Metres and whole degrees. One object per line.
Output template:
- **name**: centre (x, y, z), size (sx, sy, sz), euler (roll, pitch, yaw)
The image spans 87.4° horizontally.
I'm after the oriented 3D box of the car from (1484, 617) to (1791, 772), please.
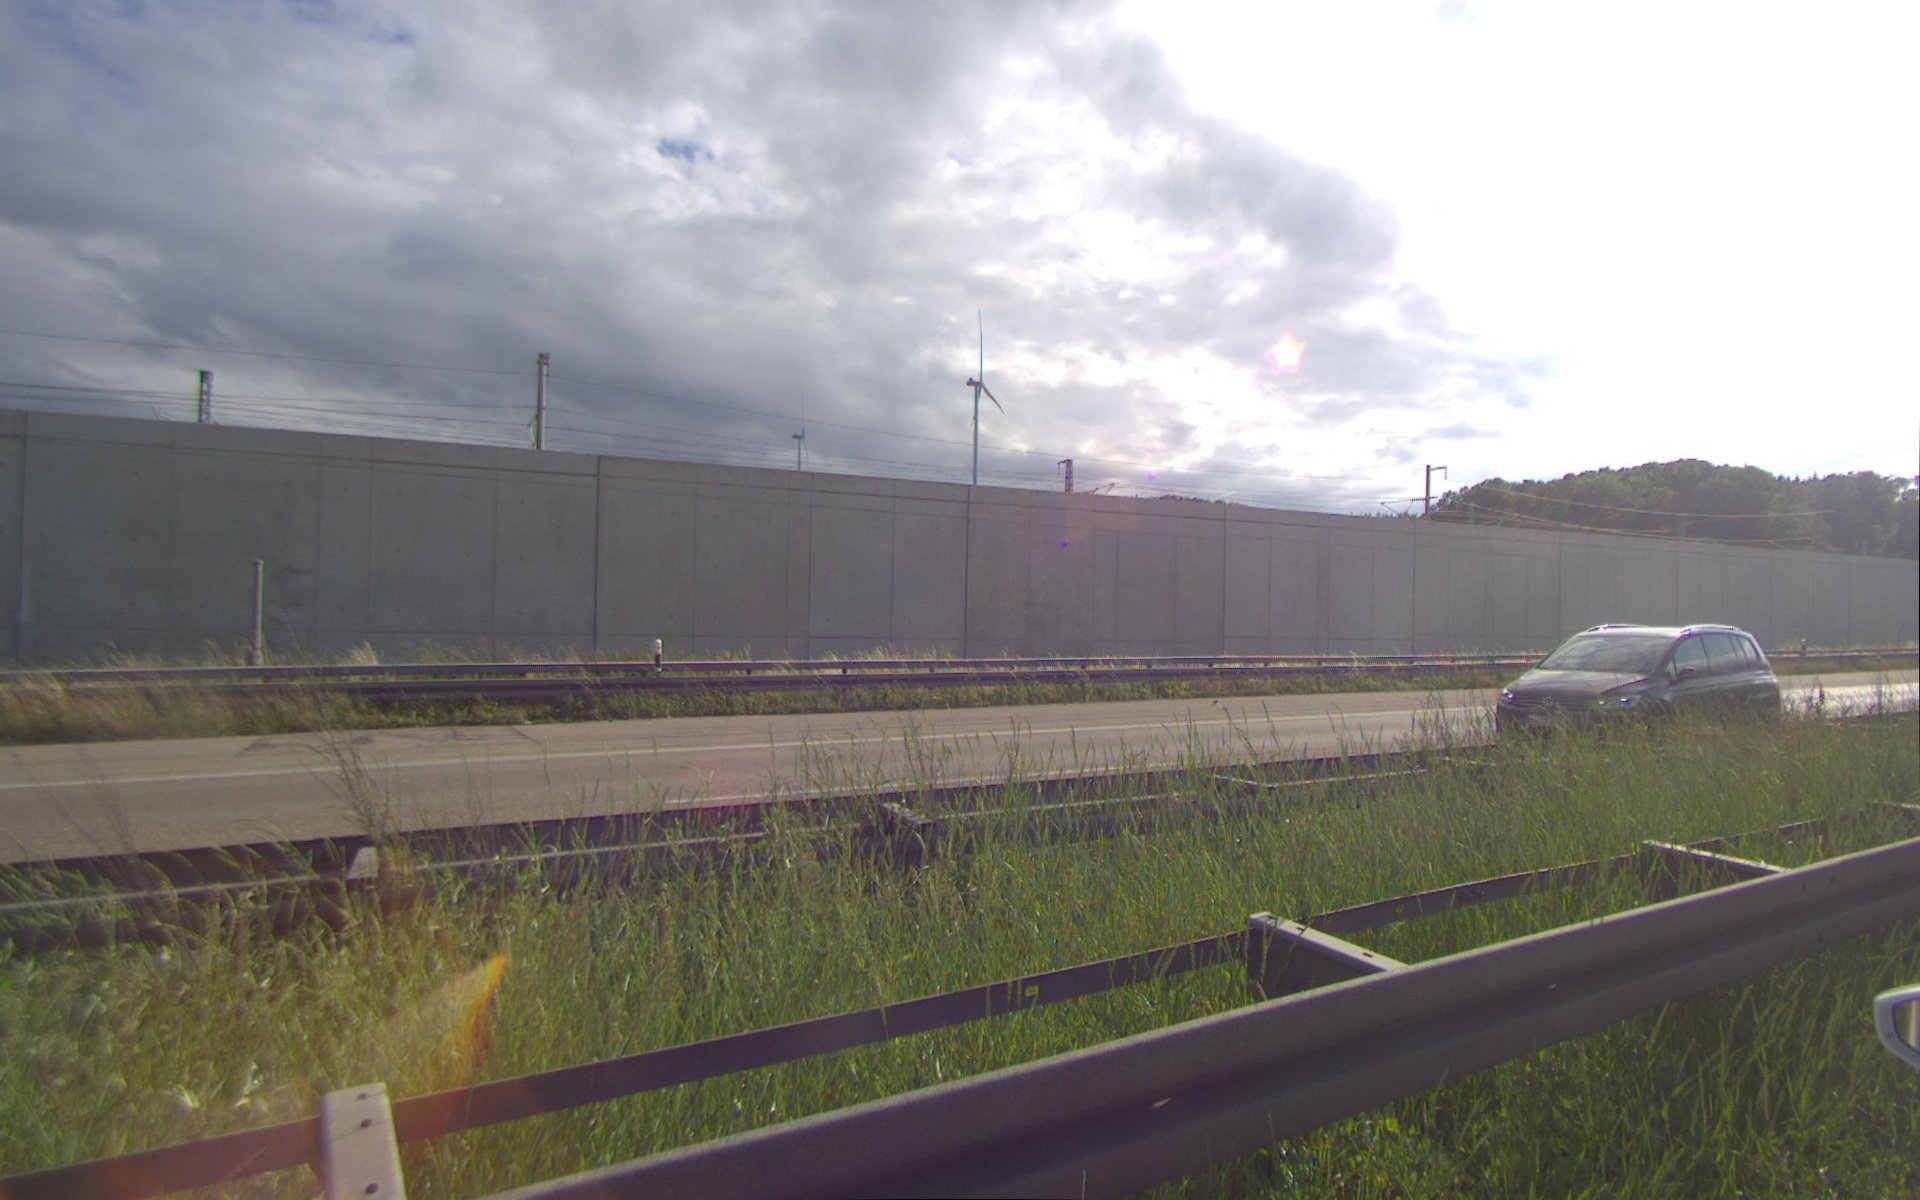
- **car**: centre (8.979, 1.146, 13.260), size (4.054, 1.760, 1.772), euler (2, -1, -30)
